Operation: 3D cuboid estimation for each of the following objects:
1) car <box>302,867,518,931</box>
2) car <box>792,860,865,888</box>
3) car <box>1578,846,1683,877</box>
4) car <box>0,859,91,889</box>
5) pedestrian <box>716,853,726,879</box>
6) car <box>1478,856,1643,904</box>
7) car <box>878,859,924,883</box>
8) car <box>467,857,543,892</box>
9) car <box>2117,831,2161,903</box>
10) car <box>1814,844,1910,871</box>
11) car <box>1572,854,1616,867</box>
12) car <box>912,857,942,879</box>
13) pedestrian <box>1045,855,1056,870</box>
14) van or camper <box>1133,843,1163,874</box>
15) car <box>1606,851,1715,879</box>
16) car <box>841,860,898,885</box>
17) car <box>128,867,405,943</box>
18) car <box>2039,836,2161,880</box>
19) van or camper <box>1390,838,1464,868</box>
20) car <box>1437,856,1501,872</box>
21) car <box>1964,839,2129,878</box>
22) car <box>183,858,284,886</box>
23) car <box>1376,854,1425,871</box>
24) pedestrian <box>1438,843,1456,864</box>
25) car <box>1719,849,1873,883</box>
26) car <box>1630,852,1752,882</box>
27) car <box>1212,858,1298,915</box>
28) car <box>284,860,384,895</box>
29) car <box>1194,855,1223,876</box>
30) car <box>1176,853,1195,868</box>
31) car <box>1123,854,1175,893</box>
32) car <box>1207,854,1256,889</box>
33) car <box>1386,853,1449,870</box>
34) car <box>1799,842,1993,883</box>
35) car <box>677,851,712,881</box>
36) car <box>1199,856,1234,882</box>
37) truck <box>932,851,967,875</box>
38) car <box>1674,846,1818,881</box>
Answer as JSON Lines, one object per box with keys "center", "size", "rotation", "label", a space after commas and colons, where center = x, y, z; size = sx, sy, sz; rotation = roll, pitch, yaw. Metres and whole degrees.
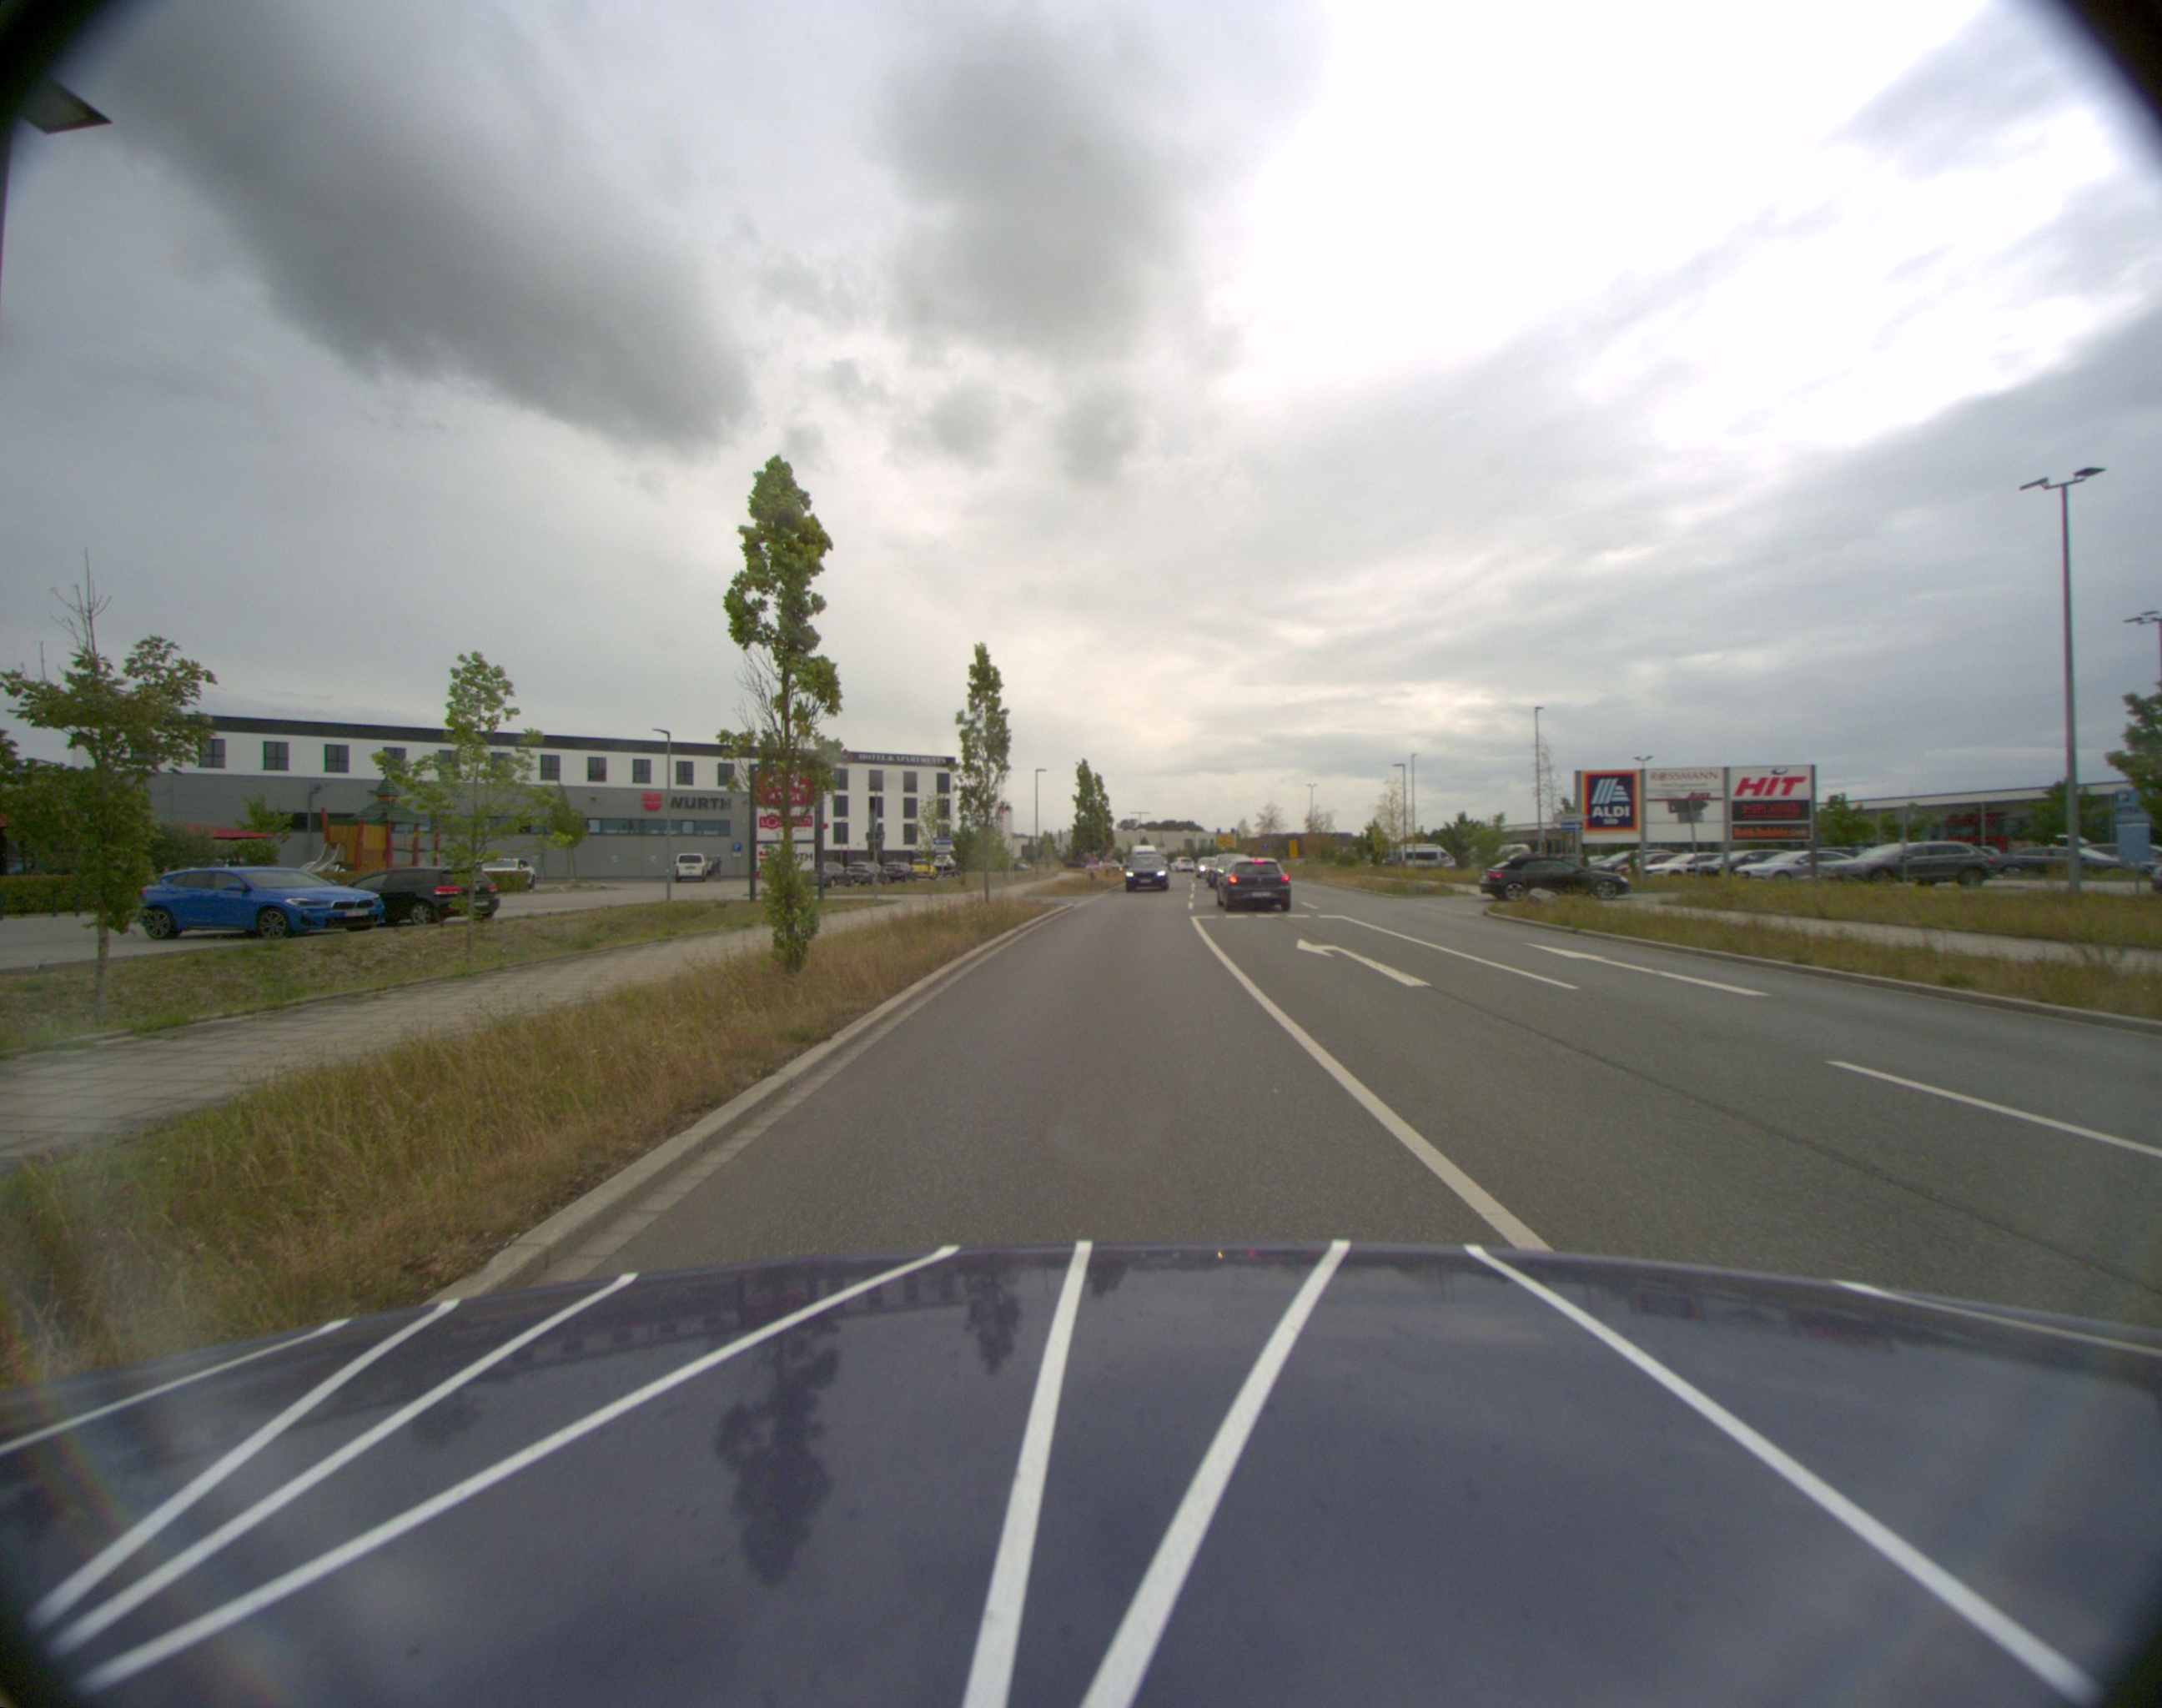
{"center": [-16.901, 1.095, 19.255], "size": [3.994, 1.485, 1.983], "rotation": [-1, 0, 8], "label": "car"}
{"center": [-13.658, 1.051, 41.373], "size": [1.966, 1.451, 4.834], "rotation": [0, 0, 5], "label": "car"}
{"center": [30.666, 0.425, 42.539], "size": [4.309, 1.645, 2.081], "rotation": [0, 0, 5], "label": "car"}
{"center": [-56.061, 1.010, 40.451], "size": [2.083, 1.510, 4.451], "rotation": [0, 0, -22], "label": "car"}
{"center": [-25.776, 0.882, 54.383], "size": [0.615, 1.857, 0.800], "rotation": [-1, 0, -29], "label": "pedestrian"}
{"center": [15.383, 0.809, 24.628], "size": [4.222, 1.429, 1.777], "rotation": [0, 1, 17], "label": "car"}
{"center": [-12.531, 1.156, 53.274], "size": [1.998, 1.488, 4.608], "rotation": [0, 1, 2], "label": "car"}
{"center": [-30.111, 1.024, 39.890], "size": [2.002, 1.687, 4.784], "rotation": [-1, 0, -22], "label": "car"}
{"center": [27.789, 0.276, 17.762], "size": [4.252, 1.713, 2.029], "rotation": [-1, 0, 2], "label": "car"}
{"center": [56.298, 0.279, 54.902], "size": [2.245, 1.863, 4.301], "rotation": [0, 0, -15], "label": "car"}
{"center": [58.125, 0.702, 86.203], "size": [2.000, 1.433, 3.998], "rotation": [0, 0, -7], "label": "car"}
{"center": [-12.055, 1.075, 59.714], "size": [1.768, 1.676, 4.410], "rotation": [0, 0, -5], "label": "car"}
{"center": [-3.661, 1.009, 90.427], "size": [1.073, 1.847, 1.196], "rotation": [0, 1, 10], "label": "pedestrian"}
{"center": [5.787, 0.377, 66.431], "size": [2.264, 2.601, 5.698], "rotation": [0, 0, 1], "label": "van or camper"}
{"center": [30.425, 0.576, 39.997], "size": [4.092, 1.383, 2.001], "rotation": [0, 0, 8], "label": "car"}
{"center": [-12.990, 1.107, 46.990], "size": [1.868, 1.428, 4.881], "rotation": [0, -1, 3], "label": "car"}
{"center": [-17.819, 1.085, 16.752], "size": [4.271, 1.511, 1.966], "rotation": [-1, 0, 6], "label": "car"}
{"center": [47.160, 0.172, 34.352], "size": [1.840, 1.910, 4.440], "rotation": [-1, 0, -21], "label": "car"}
{"center": [31.911, -0.100, 70.240], "size": [5.868, 2.783, 2.242], "rotation": [0, 1, -2], "label": "van or camper"}
{"center": [32.408, 0.827, 63.492], "size": [4.334, 1.297, 2.012], "rotation": [0, 0, 1], "label": "car"}
{"center": [41.974, 0.218, 33.187], "size": [2.001, 1.597, 3.995], "rotation": [0, 0, -14], "label": "car"}
{"center": [-49.140, 1.004, 44.181], "size": [2.083, 1.510, 4.568], "rotation": [0, 0, -21], "label": "car"}
{"center": [31.519, 0.829, 74.966], "size": [3.953, 1.624, 2.085], "rotation": [0, 0, -1], "label": "car"}
{"center": [33.001, -0.072, 68.515], "size": [1.010, 1.879, 1.113], "rotation": [0, 0, -3], "label": "pedestrian"}
{"center": [29.337, 0.481, 31.296], "size": [4.322, 1.332, 2.028], "rotation": [-1, 0, 4], "label": "car"}
{"center": [30.047, 0.635, 37.542], "size": [4.327, 1.448, 2.012], "rotation": [-1, 0, 6], "label": "car"}
{"center": [4.831, 0.854, 21.683], "size": [1.833, 1.412, 4.247], "rotation": [-1, 0, 5], "label": "car"}
{"center": [-36.614, 1.115, 37.393], "size": [1.988, 1.619, 4.319], "rotation": [-1, 0, -22], "label": "car"}
{"center": [9.183, 0.831, 54.935], "size": [1.706, 1.429, 4.034], "rotation": [0, 0, 4], "label": "car"}
{"center": [11.564, 0.731, 84.443], "size": [1.997, 1.627, 4.705], "rotation": [1, 0, 7], "label": "car"}
{"center": [3.251, 0.861, 35.477], "size": [1.997, 1.654, 4.003], "rotation": [-2, 0, 10], "label": "car"}
{"center": [7.047, 0.804, 35.953], "size": [1.997, 1.552, 4.616], "rotation": [-1, 0, 8], "label": "car"}
{"center": [26.179, 0.586, 59.277], "size": [4.088, 1.252, 2.013], "rotation": [0, 0, 7], "label": "car"}
{"center": [29.117, 0.319, 27.301], "size": [4.366, 1.383, 2.167], "rotation": [-1, 0, 8], "label": "car"}
{"center": [-27.164, 0.828, 53.495], "size": [2.003, 1.975, 4.627], "rotation": [-1, 0, -25], "label": "car"}
{"center": [8.173, 0.868, 46.053], "size": [1.883, 1.460, 4.195], "rotation": [0, 0, 7], "label": "car"}
{"center": [-13.155, 0.893, 76.484], "size": [2.232, 2.312, 8.214], "rotation": [0, -1, -1], "label": "truck"}
{"center": [29.816, 0.427, 34.212], "size": [4.373, 1.496, 2.241], "rotation": [-1, 0, 7], "label": "car"}
